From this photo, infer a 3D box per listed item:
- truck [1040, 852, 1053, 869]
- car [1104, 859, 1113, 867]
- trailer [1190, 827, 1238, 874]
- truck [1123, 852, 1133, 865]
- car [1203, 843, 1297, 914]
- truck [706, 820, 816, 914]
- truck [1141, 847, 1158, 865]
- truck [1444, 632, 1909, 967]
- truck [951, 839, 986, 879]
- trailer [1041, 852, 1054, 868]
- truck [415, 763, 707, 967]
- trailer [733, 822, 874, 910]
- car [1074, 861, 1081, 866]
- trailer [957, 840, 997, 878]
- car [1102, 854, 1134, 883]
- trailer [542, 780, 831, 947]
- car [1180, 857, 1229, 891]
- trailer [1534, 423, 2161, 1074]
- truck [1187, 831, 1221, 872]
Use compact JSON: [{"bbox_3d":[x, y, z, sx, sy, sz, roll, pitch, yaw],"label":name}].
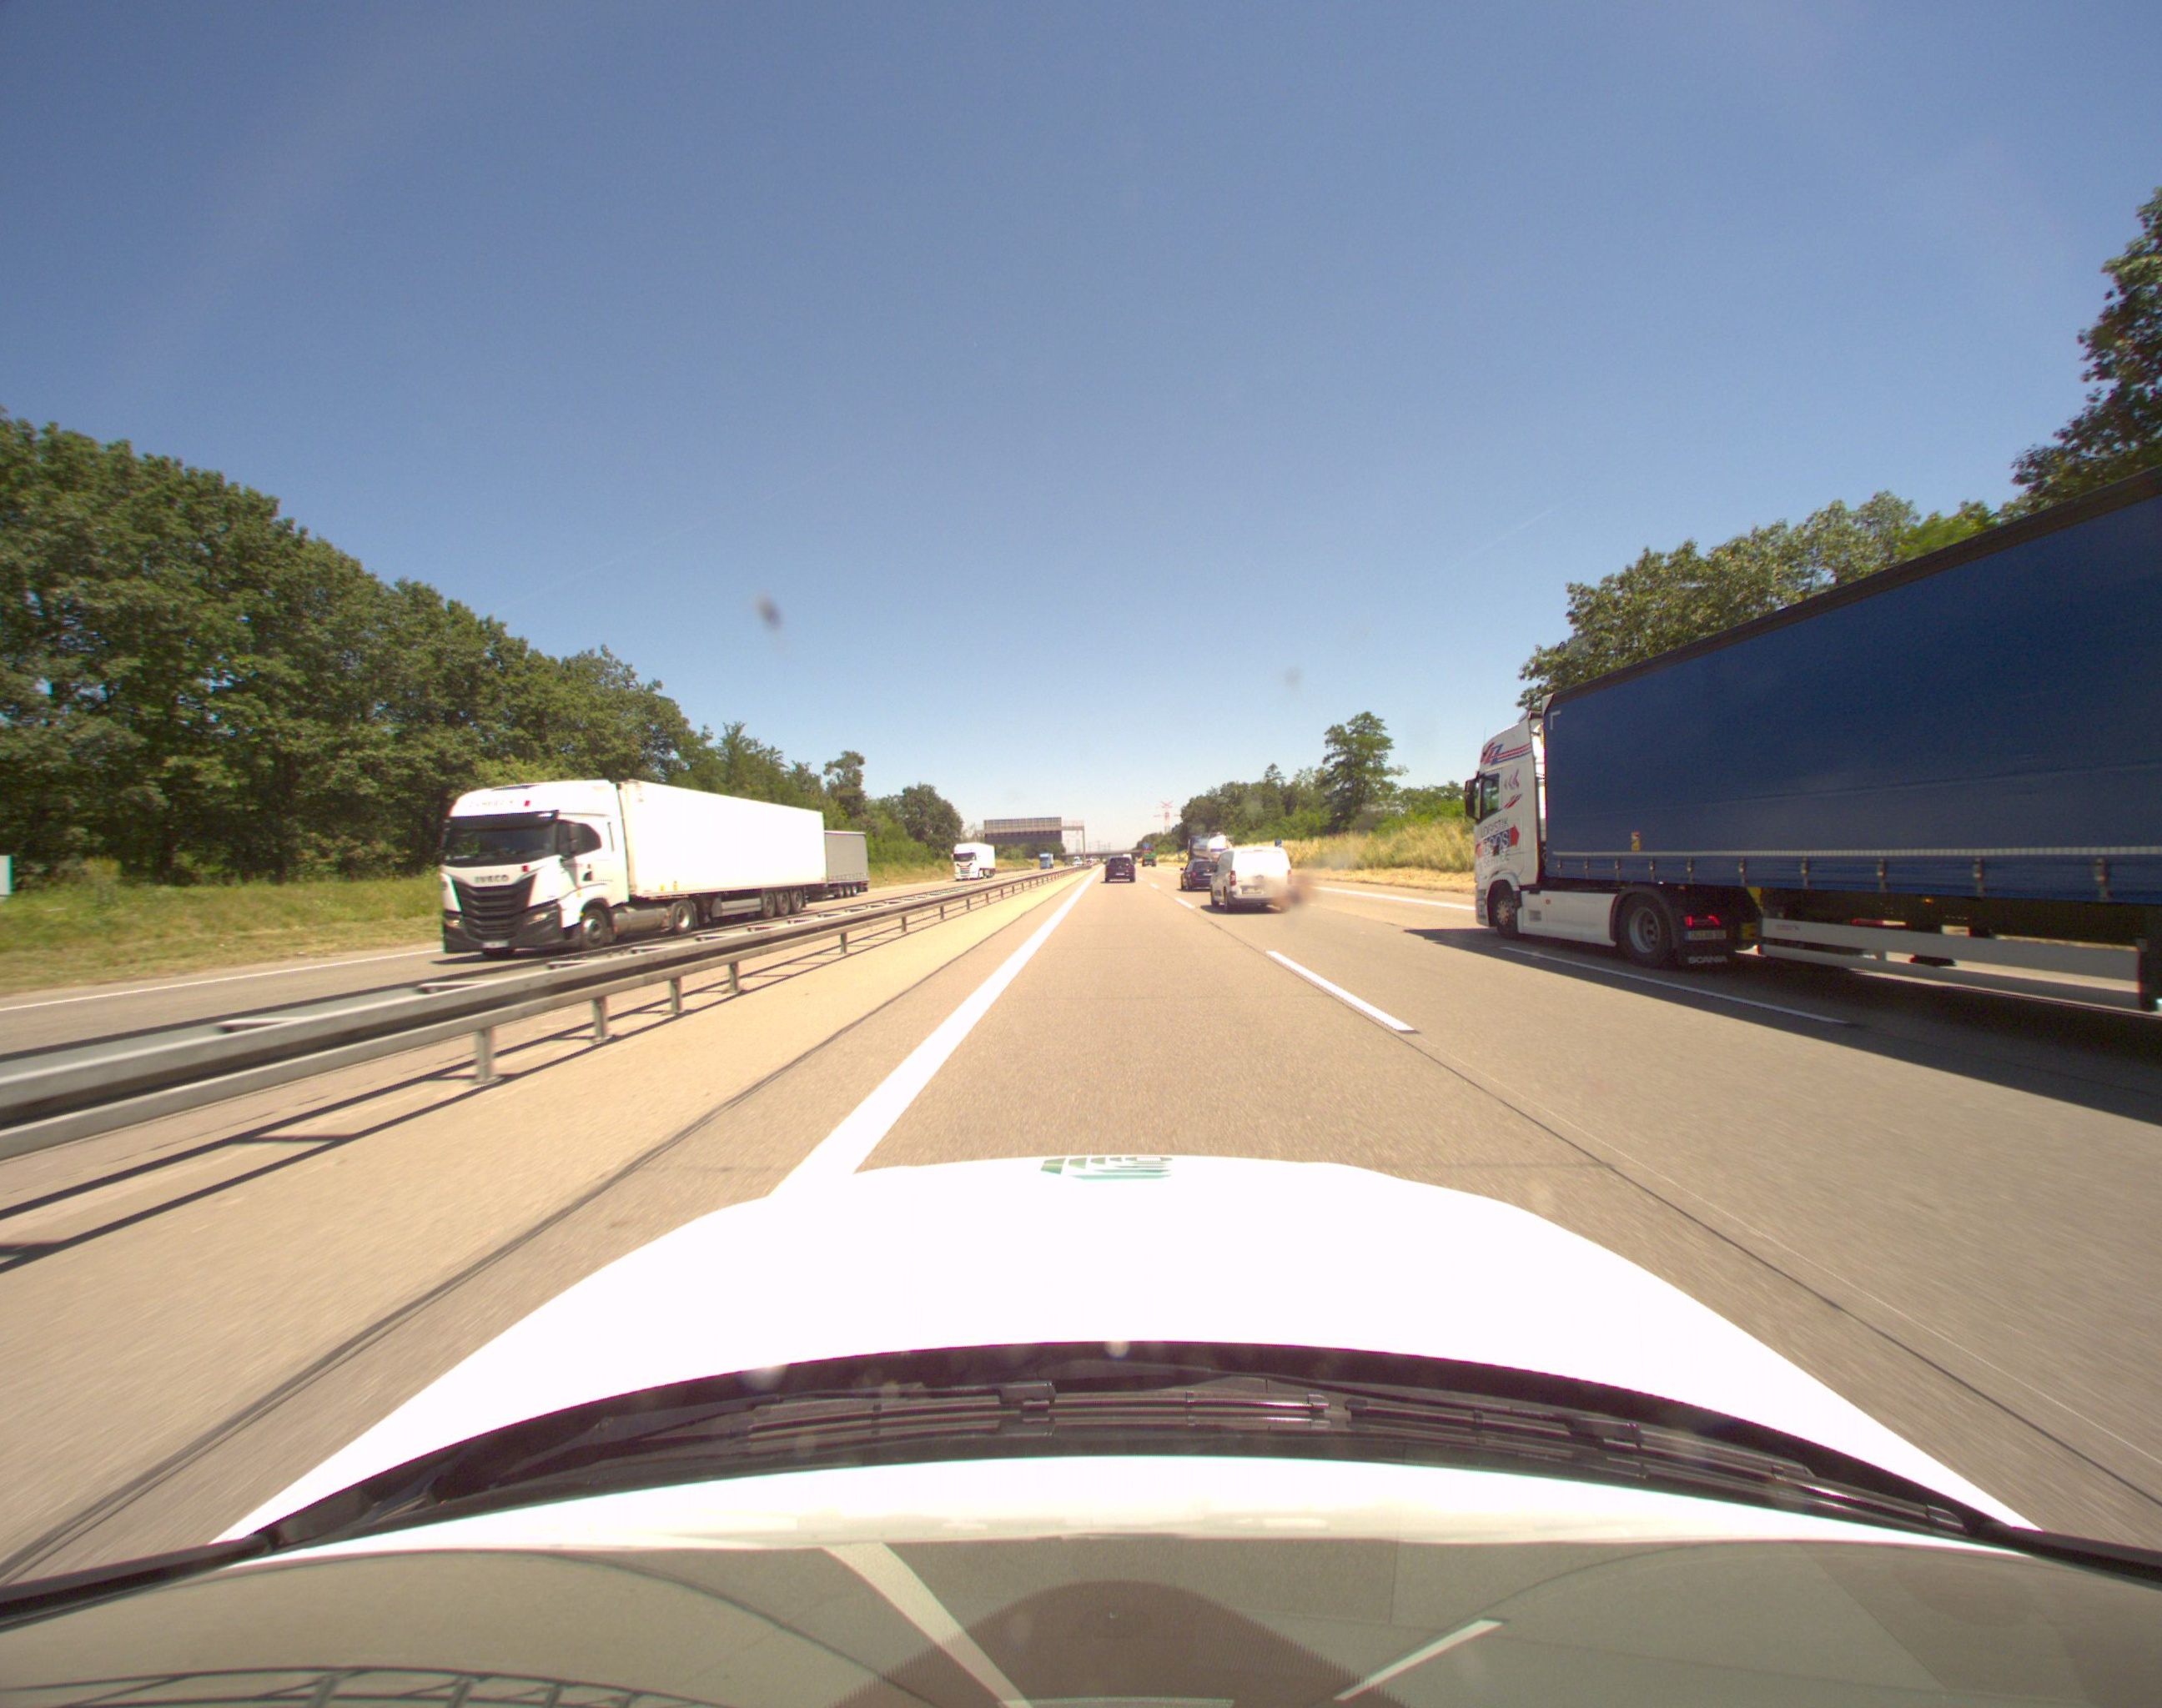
[{"bbox_3d":[-9.099,1.736,215.243,2.692,4.186,4.724,-4,0,1],"label":"truck"},{"bbox_3d":[4.835,1.572,141.910,1.518,1.252,3.626,-2,0,1],"label":"car"},{"bbox_3d":[11.648,-0.267,72.402,2.673,3.837,12.013,0,0,2],"label":"trailer"},{"bbox_3d":[10.611,0.954,185.289,2.053,2.914,7.005,-2,0,1],"label":"truck"},{"bbox_3d":[4.877,0.661,24.148,1.808,1.827,5.112,-2,0,1],"label":"car"},{"bbox_3d":[-15.690,0.598,40.441,2.659,4.169,6.190,-4,0,1],"label":"truck"},{"bbox_3d":[14.494,0.469,173.831,2.978,3.728,10.092,0,0,1],"label":"truck"},{"bbox_3d":[8.861,-0.670,13.306,3.274,4.219,6.009,0,-1,1],"label":"truck"},{"bbox_3d":[-12.645,0.561,91.858,2.692,4.186,6.190,-4,0,1],"label":"truck"},{"bbox_3d":[-8.971,1.600,220.996,2.692,4.186,10.769,-4,0,1],"label":"trailer"},{"bbox_3d":[-12.050,0.228,19.755,2.659,3.990,6.342,-4,0,1],"label":"truck"},{"bbox_3d":[-15.523,0.602,47.427,2.659,4.169,14.600,-4,0,1],"label":"trailer"},{"bbox_3d":[-1.066,2.997,250.955,1.920,1.348,3.566,-4,0,1],"label":"car"},{"bbox_3d":[-12.467,0.597,98.645,2.692,4.186,12.066,-4,0,1],"label":"trailer"},{"bbox_3d":[2.437,0.931,54.861,1.933,1.752,5.814,-1,0,1],"label":"car"},{"bbox_3d":[-11.868,0.261,26.916,2.659,3.990,13.134,-4,0,1],"label":"trailer"},{"bbox_3d":[5.760,0.924,38.257,1.768,1.472,3.873,-2,0,1],"label":"car"},{"bbox_3d":[8.668,-0.686,6.134,3.274,4.219,13.569,0,0,2],"label":"trailer"},{"bbox_3d":[11.794,-0.235,78.119,2.673,3.837,4.445,0,-1,1],"label":"truck"}]
